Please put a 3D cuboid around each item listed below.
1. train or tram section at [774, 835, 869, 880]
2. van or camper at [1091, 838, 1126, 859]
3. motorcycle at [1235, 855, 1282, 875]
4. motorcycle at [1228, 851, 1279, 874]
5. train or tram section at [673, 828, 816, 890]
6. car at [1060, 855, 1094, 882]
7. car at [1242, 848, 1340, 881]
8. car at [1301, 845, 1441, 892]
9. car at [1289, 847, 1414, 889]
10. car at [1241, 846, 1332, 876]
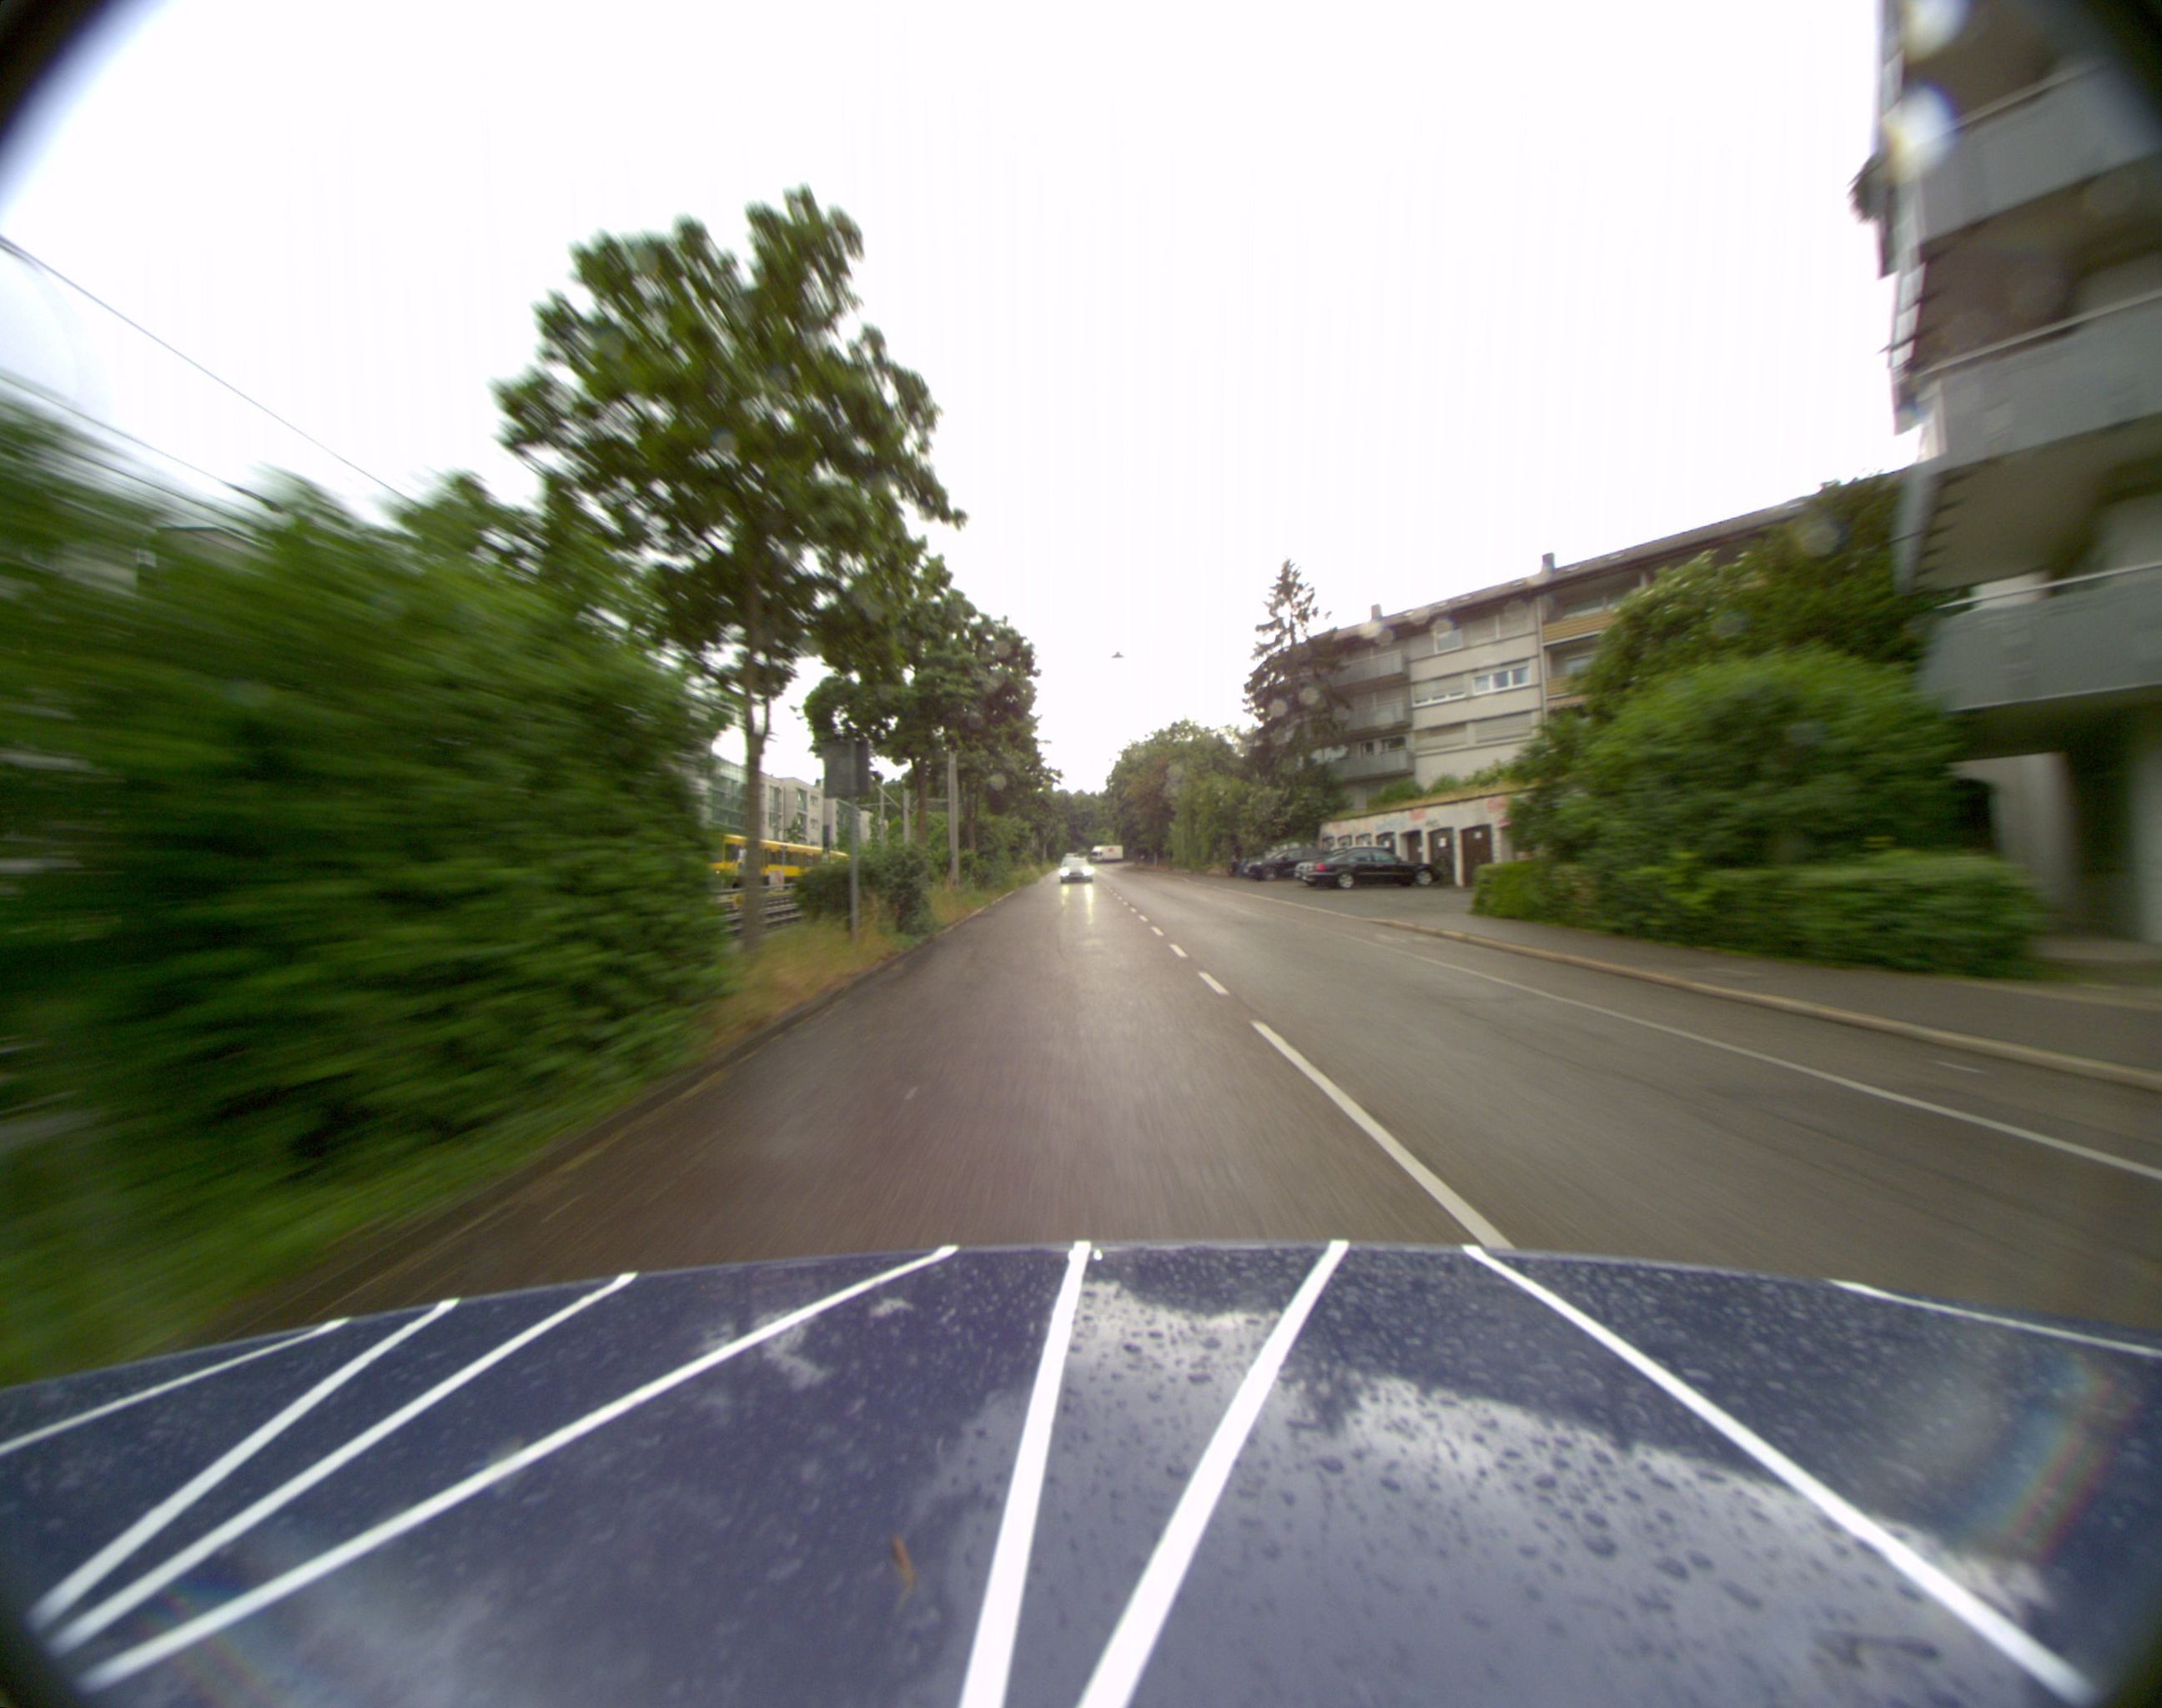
[{"bbox_3d":[-22.370,0.282,66.823,3.114,3.478,14.856,-2,0,0],"label":"train or tram section"},{"bbox_3d":[5.480,-1.111,152.025,2.882,3.915,8.160,-1,1,36],"label":"van or camper"},{"bbox_3d":[9.977,0.616,42.739,2.460,1.102,0.661,-1,1,7],"label":"motorcycle"},{"bbox_3d":[10.111,0.493,44.502,2.806,1.265,1.280,-2,1,15],"label":"motorcycle"},{"bbox_3d":[-22.468,0.292,52.274,3.204,3.540,14.502,-2,0,0],"label":"train or tram section"},{"bbox_3d":[-0.241,0.902,46.747,1.861,1.468,4.001,-4,-2,0],"label":"car"},{"bbox_3d":[10.597,0.516,38.495,4.440,1.519,1.774,-1,1,1],"label":"car"},{"bbox_3d":[10.782,0.514,28.465,4.496,1.481,1.848,-3,1,1],"label":"car"},{"bbox_3d":[10.914,0.553,30.841,4.441,1.519,1.774,-1,1,-2],"label":"car"},{"bbox_3d":[11.090,0.363,41.278,4.440,1.519,1.774,-1,1,1],"label":"car"}]
